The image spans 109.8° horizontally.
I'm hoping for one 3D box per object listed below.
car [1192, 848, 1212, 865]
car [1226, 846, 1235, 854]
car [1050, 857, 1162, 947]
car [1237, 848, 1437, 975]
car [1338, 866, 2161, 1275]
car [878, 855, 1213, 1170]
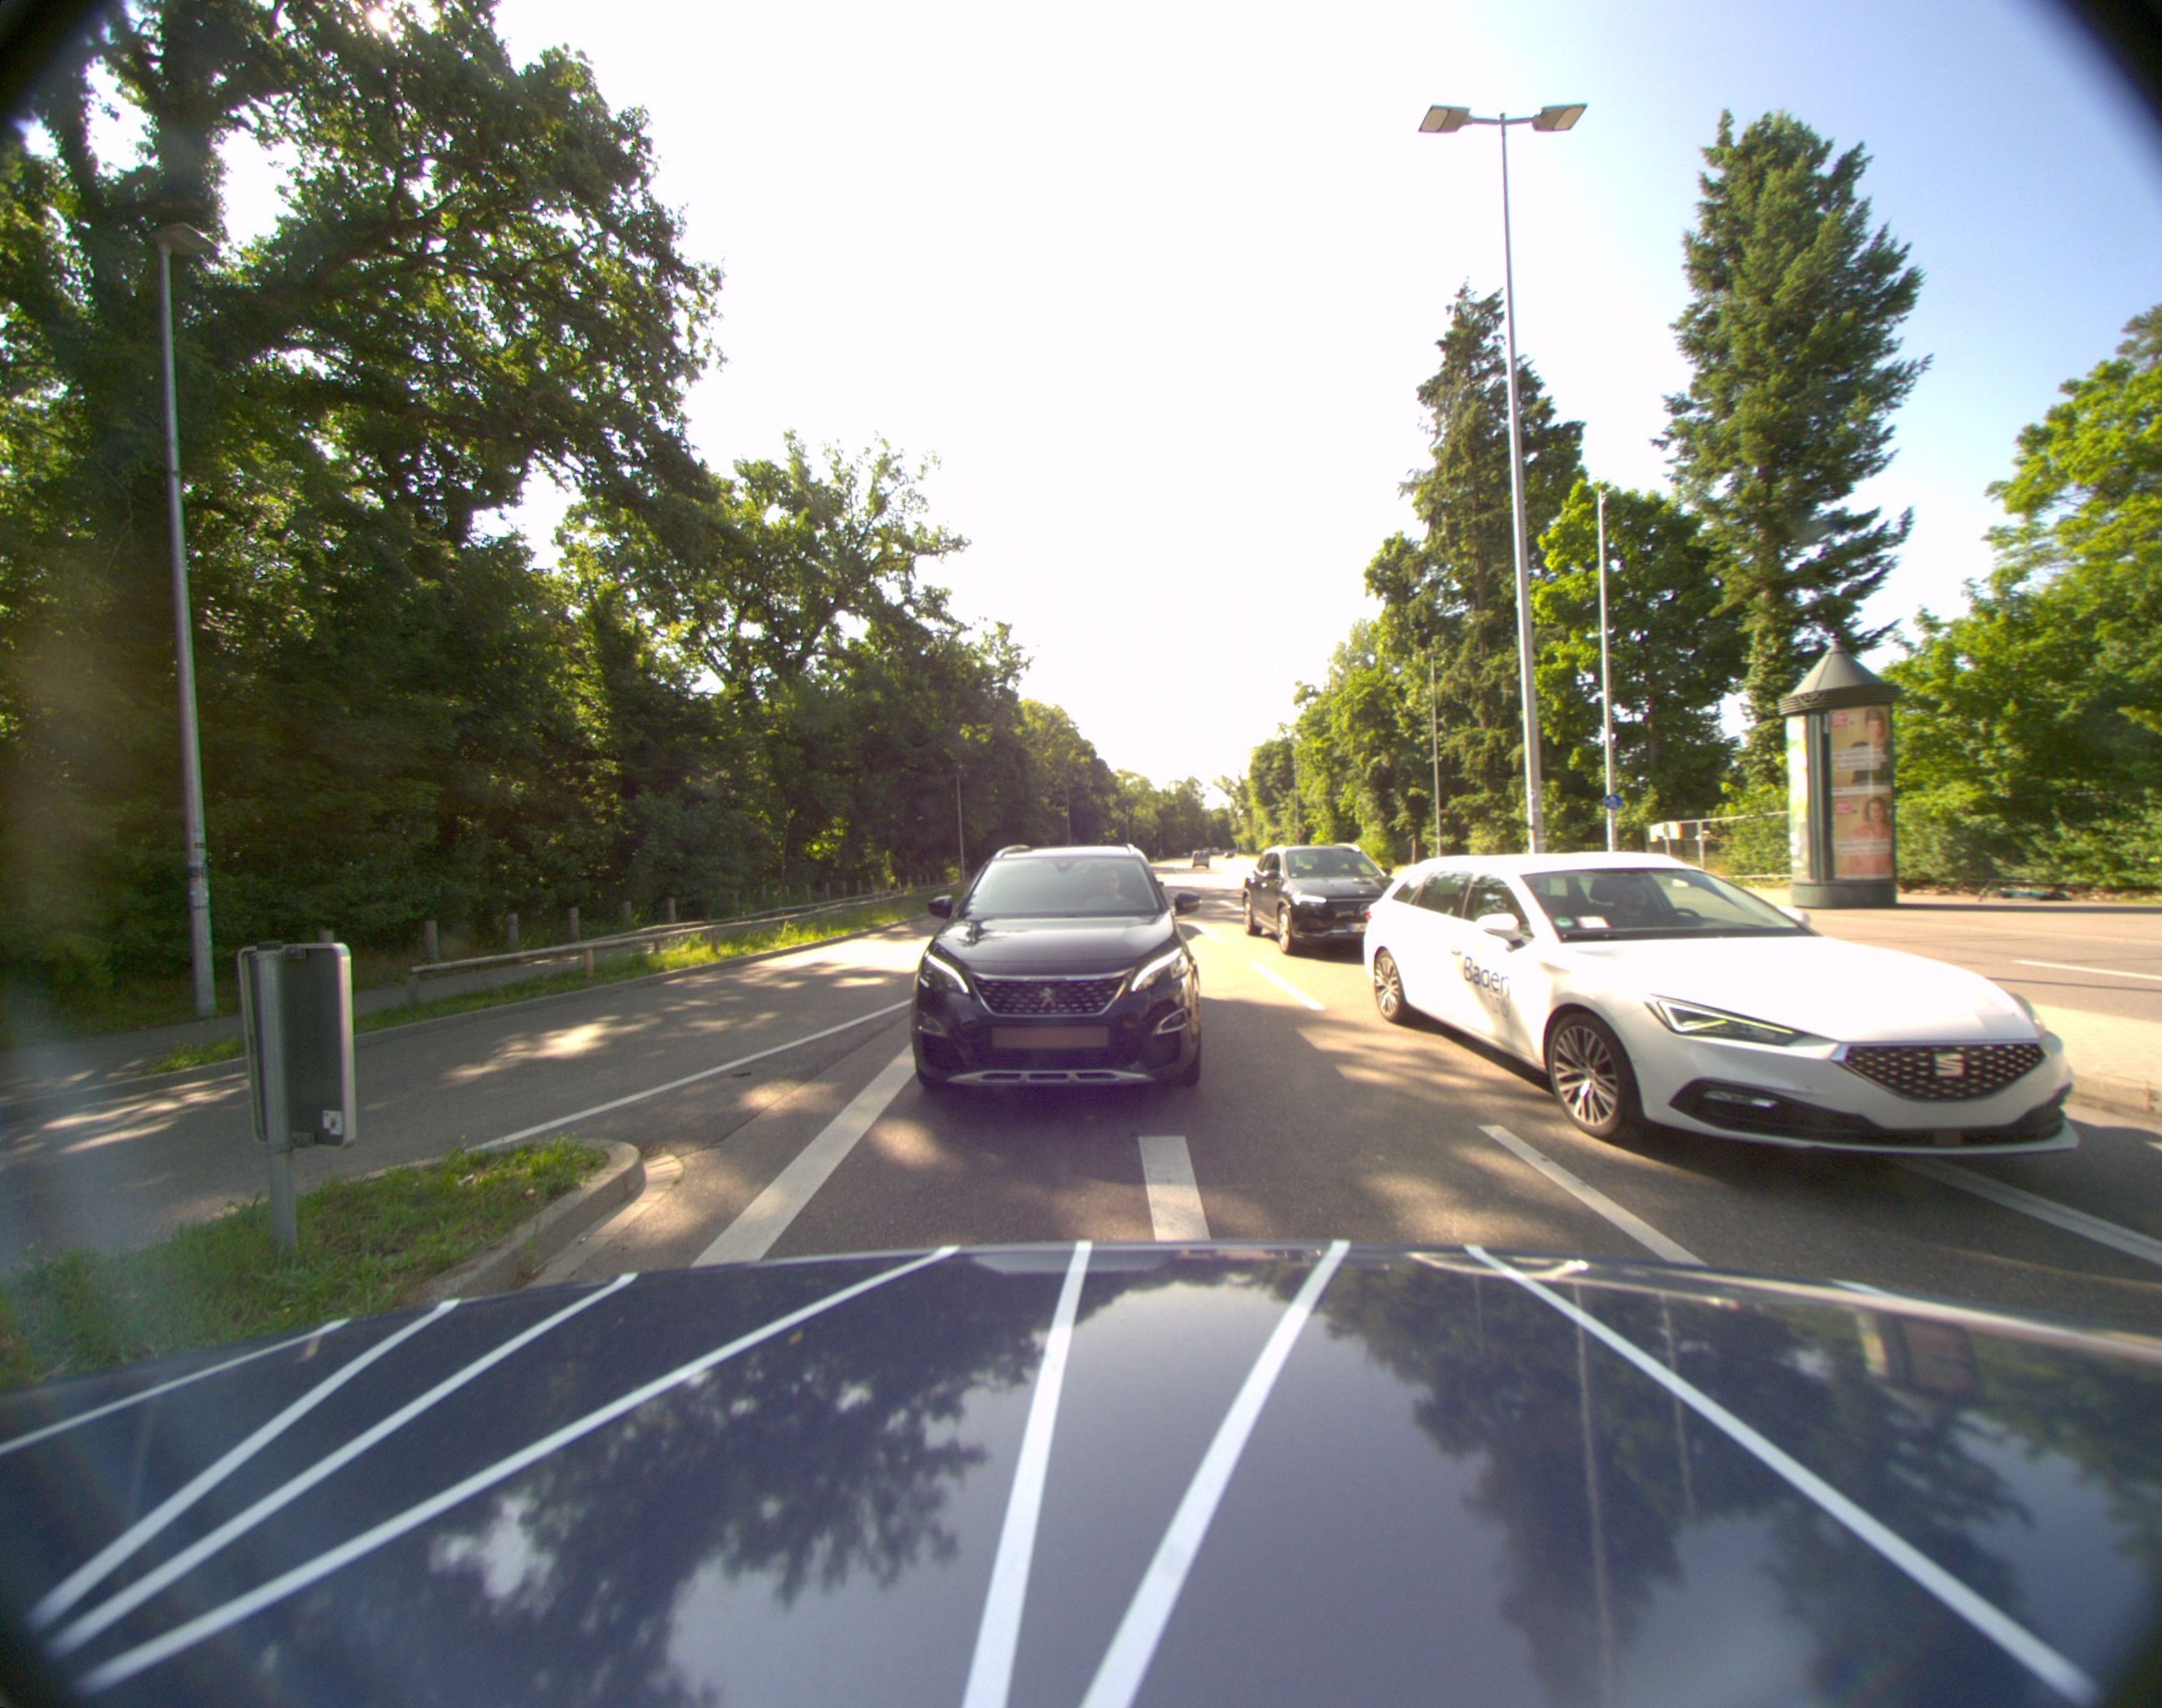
[{"bbox_3d":[13.483,0.273,84.972,1.876,1.849,4.001,-2,0,4],"label":"car"},{"bbox_3d":[34.739,-0.912,176.508,1.855,1.608,4.003,-2,0,11],"label":"car"},{"bbox_3d":[0.474,0.864,15.569,1.933,1.499,4.000,-2,0,1],"label":"car"},{"bbox_3d":[3.753,0.764,11.978,1.809,1.586,4.274,-2,0,2],"label":"car"},{"bbox_3d":[3.397,0.855,5.203,1.729,1.418,4.720,-1,0,1],"label":"car"},{"bbox_3d":[-0.159,0.846,6.180,1.702,1.581,4.319,-2,0,1],"label":"car"}]
